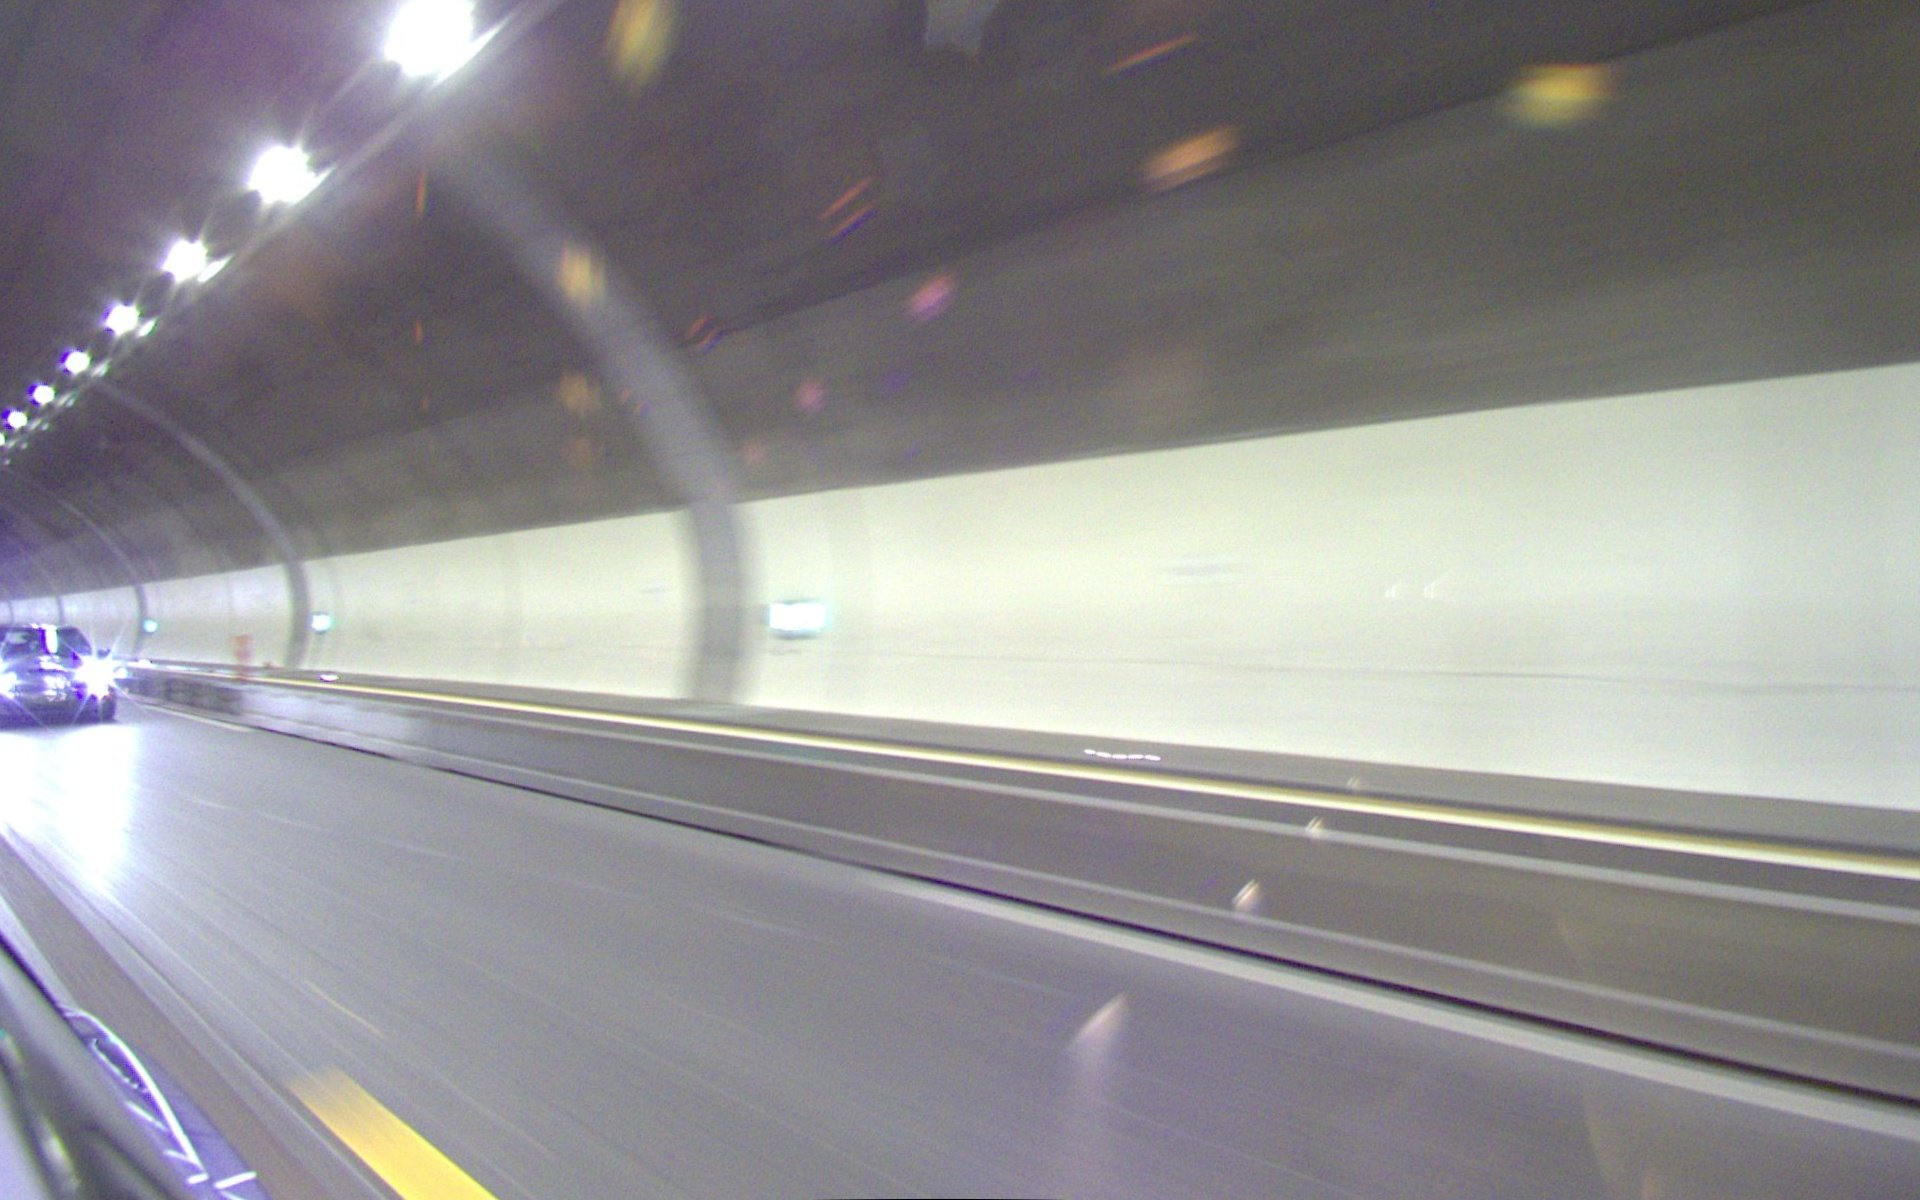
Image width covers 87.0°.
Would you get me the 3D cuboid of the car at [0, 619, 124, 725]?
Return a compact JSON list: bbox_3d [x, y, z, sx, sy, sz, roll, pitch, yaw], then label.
[{"bbox_3d":[-13.870,0.995,15.055,3.655,1.414,1.635,-1,-1,41],"label":"car"}]
